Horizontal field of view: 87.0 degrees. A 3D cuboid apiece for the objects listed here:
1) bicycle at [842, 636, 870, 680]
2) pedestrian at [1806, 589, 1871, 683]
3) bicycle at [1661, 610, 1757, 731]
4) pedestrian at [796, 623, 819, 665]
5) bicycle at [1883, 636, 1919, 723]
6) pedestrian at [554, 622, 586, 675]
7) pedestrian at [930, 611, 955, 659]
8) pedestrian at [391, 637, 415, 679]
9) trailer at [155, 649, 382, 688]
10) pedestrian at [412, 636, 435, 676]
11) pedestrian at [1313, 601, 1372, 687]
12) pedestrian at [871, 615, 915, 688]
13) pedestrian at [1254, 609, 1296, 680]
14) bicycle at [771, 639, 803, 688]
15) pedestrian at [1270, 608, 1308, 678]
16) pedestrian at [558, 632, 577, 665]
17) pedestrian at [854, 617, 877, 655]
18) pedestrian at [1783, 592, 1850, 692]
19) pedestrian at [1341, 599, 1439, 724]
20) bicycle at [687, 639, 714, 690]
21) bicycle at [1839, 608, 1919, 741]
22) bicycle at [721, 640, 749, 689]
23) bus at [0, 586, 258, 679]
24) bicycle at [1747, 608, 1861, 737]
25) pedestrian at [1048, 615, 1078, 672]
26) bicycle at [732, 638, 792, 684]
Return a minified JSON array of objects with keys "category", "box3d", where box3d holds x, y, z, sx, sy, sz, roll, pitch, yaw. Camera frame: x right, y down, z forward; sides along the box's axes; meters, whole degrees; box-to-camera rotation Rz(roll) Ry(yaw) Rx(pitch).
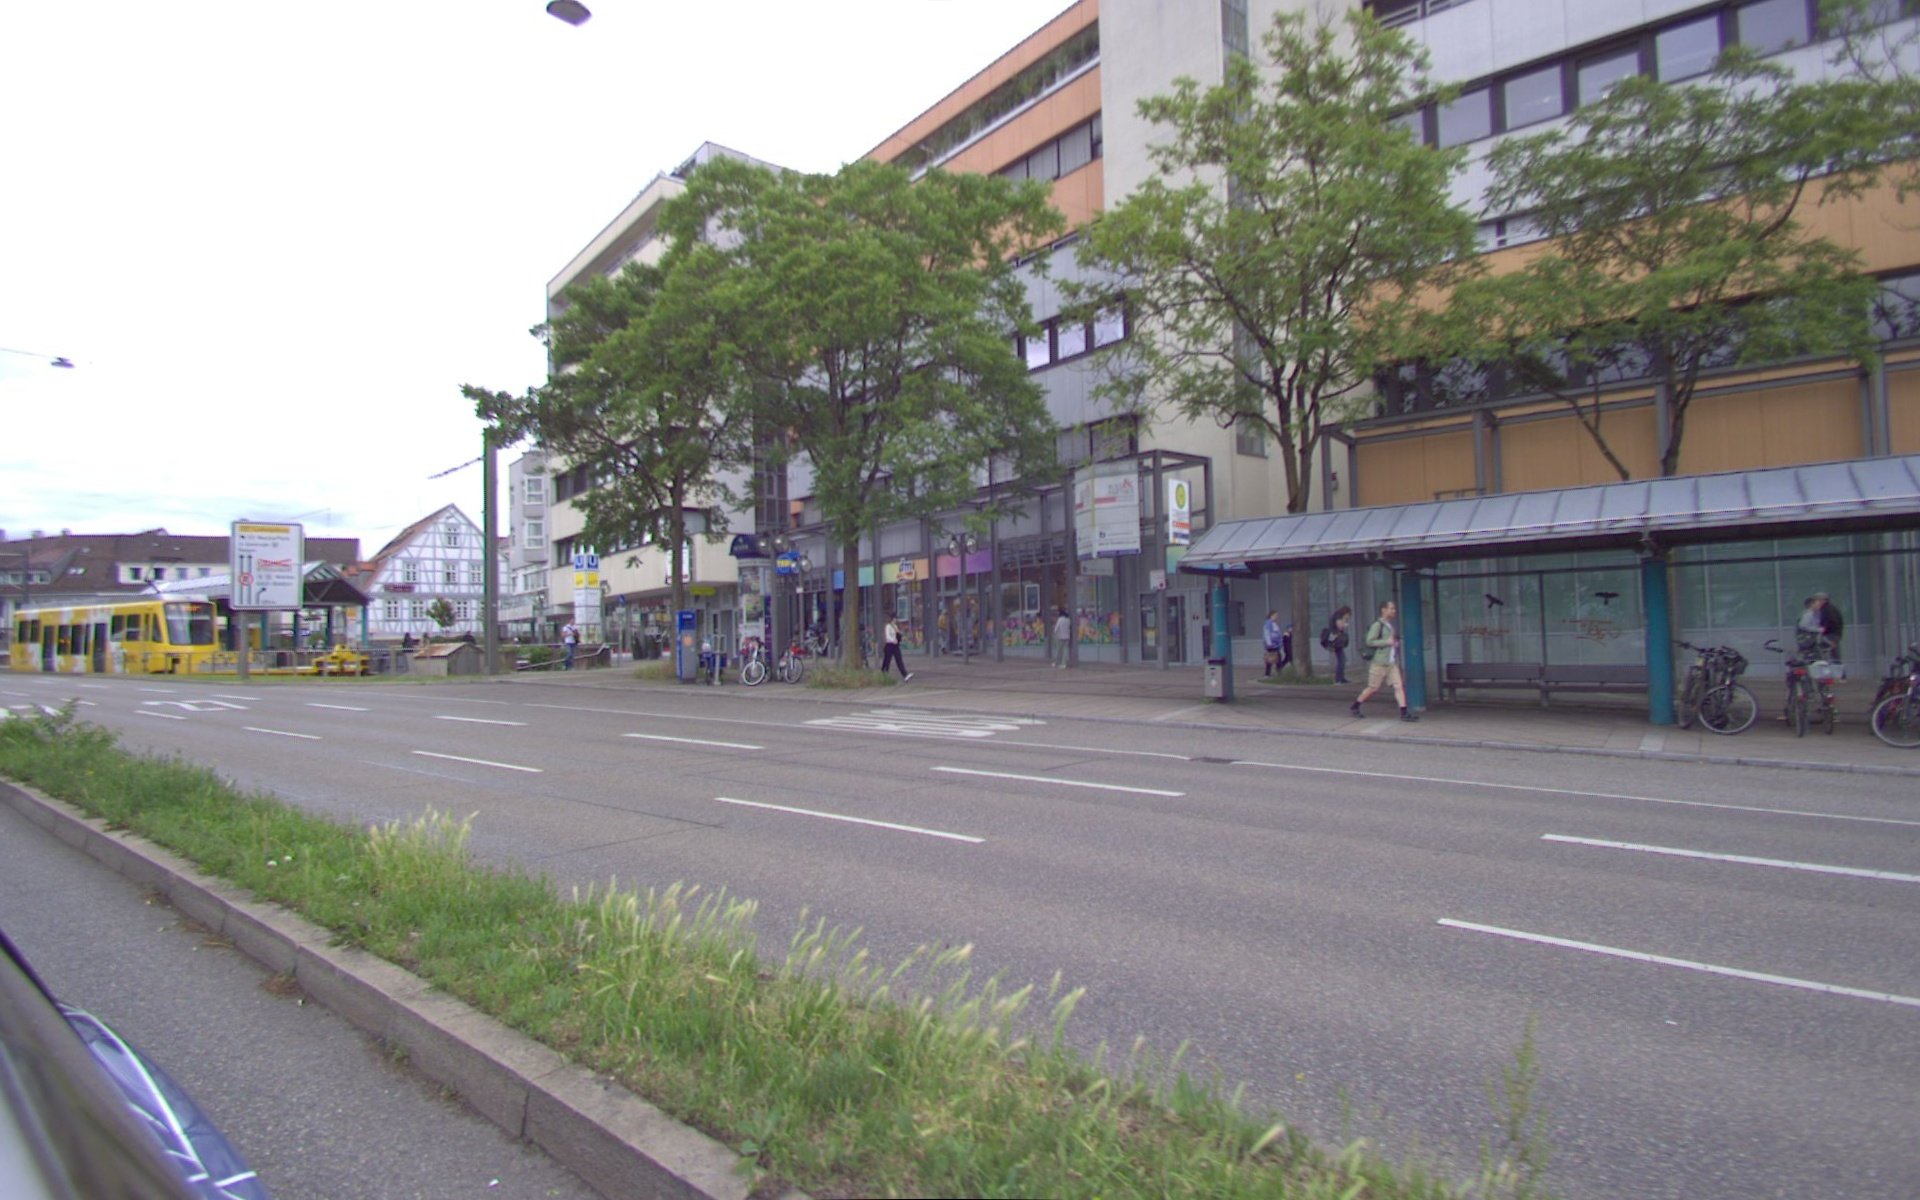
[{"category":"bicycle","box3d":[-2.899,1.601,28.075,0.663,1.170,2.022,-1,-3,-8]},{"category":"pedestrian","box3d":[16.730,0.681,19.289,0.787,1.729,0.764,-2,0,34]},{"category":"bicycle","box3d":[10.684,0.933,14.536,0.970,1.518,2.874,-2,-1,35]},{"category":"pedestrian","box3d":[-6.484,1.870,43.091,0.634,1.711,0.697,-2,-1,35]},{"category":"bicycle","box3d":[13.426,1.058,13.808,0.804,1.121,2.874,-2,-3,35]},{"category":"pedestrian","box3d":[-14.119,1.752,36.627,0.872,1.892,0.738,-2,-3,35]},{"category":"pedestrian","box3d":[-0.643,1.272,36.829,0.667,1.713,0.644,-2,-3,35]},{"category":"pedestrian","box3d":[-21.758,2.260,39.529,0.618,1.586,0.594,-3,-3,33]},{"category":"trailer","box3d":[-27.820,2.712,40.380,12.084,1.343,2.819,-2,-3,32]},{"category":"pedestrian","box3d":[-21.366,2.235,40.308,0.618,1.586,0.594,-3,-3,33]},{"category":"pedestrian","box3d":[7.997,0.908,21.178,0.763,1.729,0.789,-2,0,-30]},{"category":"pedestrian","box3d":[-1.640,1.261,24.892,0.706,1.726,0.768,-2,0,37]},{"category":"pedestrian","box3d":[7.222,1.013,23.203,0.706,1.595,0.660,-2,0,37]},{"category":"bicycle","box3d":[-4.353,1.581,25.388,0.594,1.170,1.694,0,-3,-16]},{"category":"pedestrian","box3d":[7.800,1.002,23.958,0.622,1.612,0.626,-2,-1,40]},{"category":"pedestrian","box3d":[-20.327,2.524,52.471,0.627,1.713,0.685,-2,-3,33]},{"category":"pedestrian","box3d":[-4.342,1.656,46.549,0.705,1.729,0.697,-2,0,35]},{"category":"pedestrian","box3d":[15.335,0.736,18.142,0.788,1.729,0.763,-2,0,35]},{"category":"pedestrian","box3d":[6.630,0.923,15.627,1.213,1.836,0.696,-1,0,40]},{"category":"bicycle","box3d":[-6.568,1.610,25.623,0.595,1.170,1.970,-2,-1,-14]},{"category":"bicycle","box3d":[12.291,0.904,13.319,0.810,1.518,2.873,-2,0,36]},{"category":"bicycle","box3d":[-5.700,1.612,25.535,0.594,1.170,1.970,0,-3,-15]},{"category":"bus","box3d":[-40.952,1.766,49.215,19.273,3.889,3.848,-2,-3,32]},{"category":"bicycle","box3d":[11.511,0.917,13.901,0.889,1.518,2.874,-2,0,35]},{"category":"pedestrian","box3d":[2.978,1.248,29.184,0.623,1.612,0.624,-2,-1,-16]},{"category":"bicycle","box3d":[-5.212,1.599,26.580,0.595,1.170,1.967,1,-3,-43]}]
